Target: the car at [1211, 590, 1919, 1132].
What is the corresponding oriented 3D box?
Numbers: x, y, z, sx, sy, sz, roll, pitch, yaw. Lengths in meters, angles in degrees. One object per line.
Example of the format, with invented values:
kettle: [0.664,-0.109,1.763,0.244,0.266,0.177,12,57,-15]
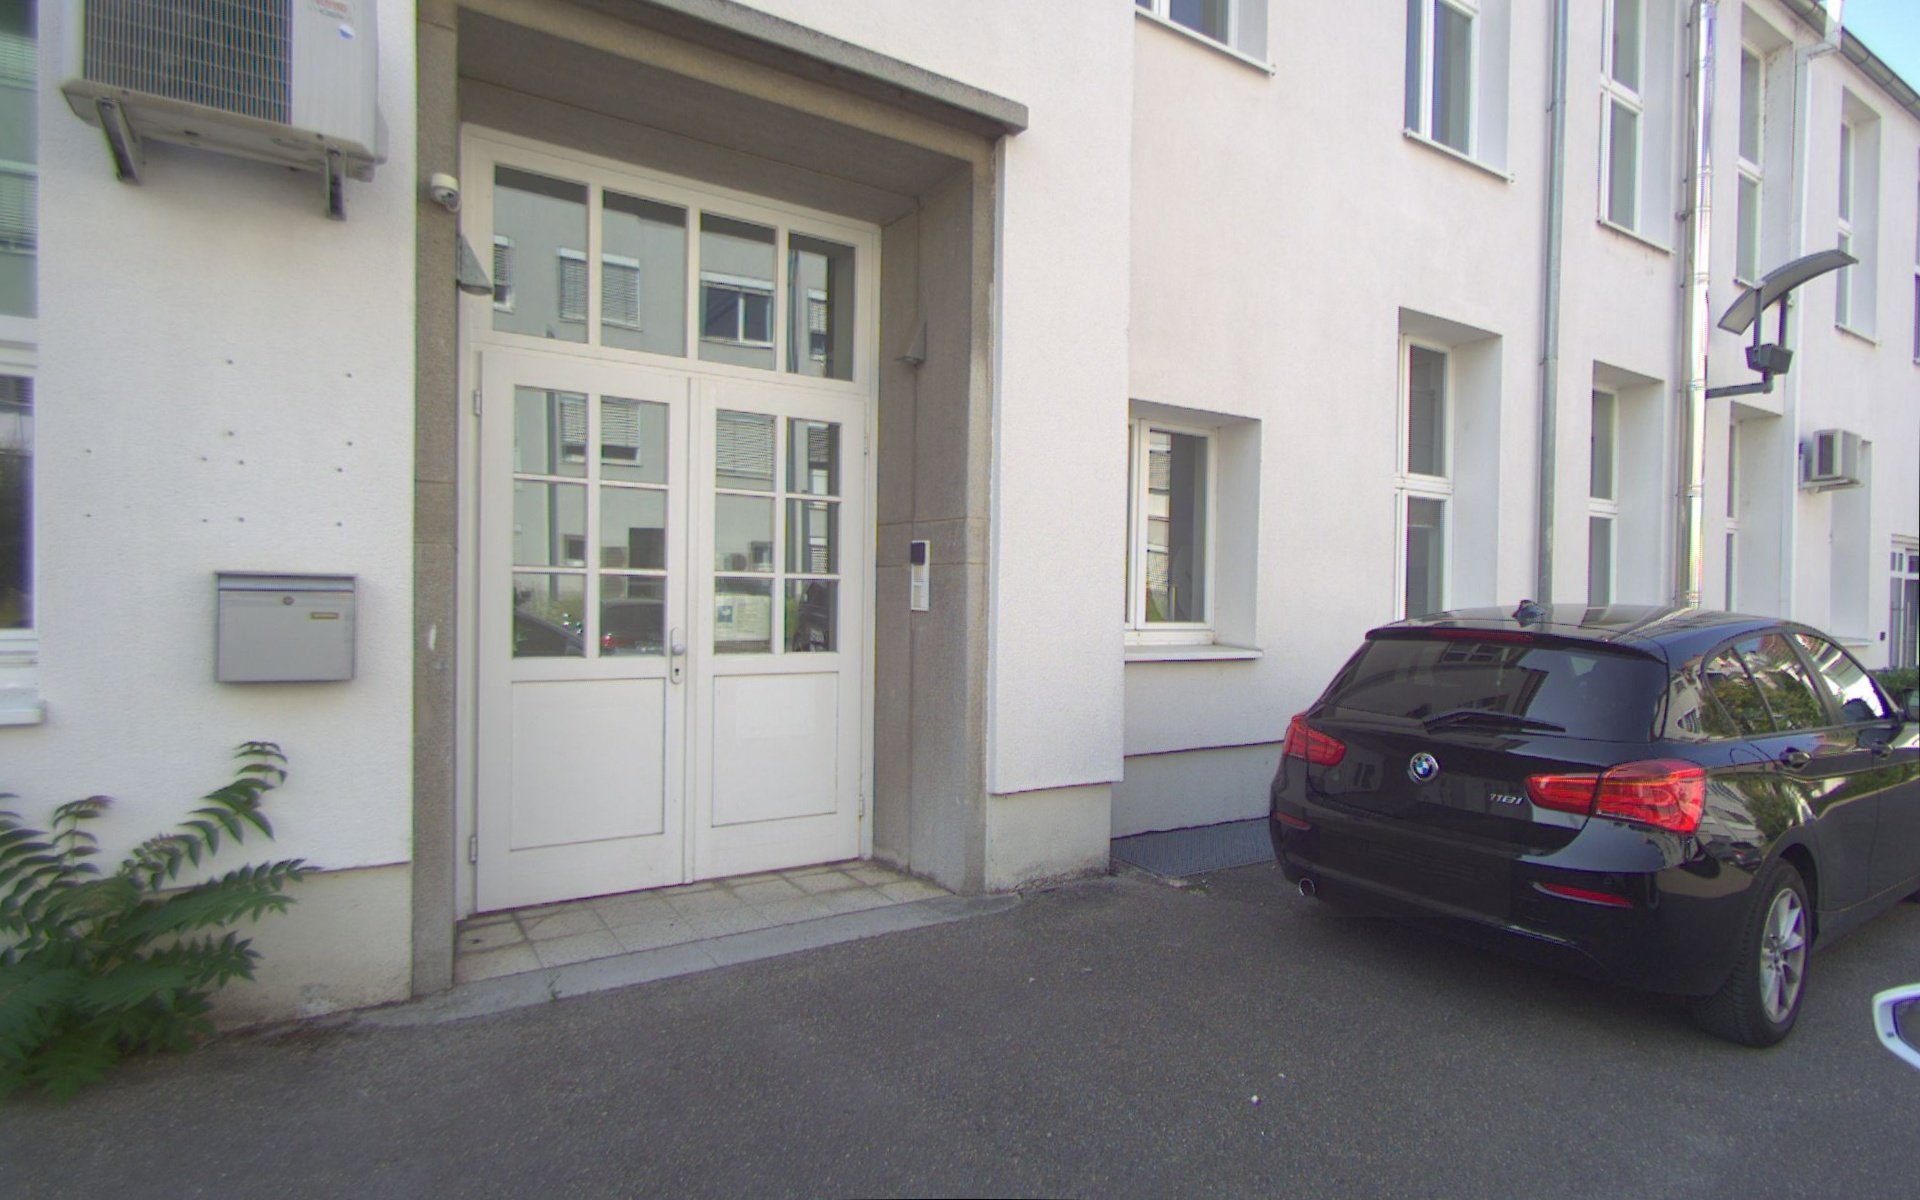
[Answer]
car: [3.124,0.754,4.561,3.882,1.478,1.678,1,0,-34]
